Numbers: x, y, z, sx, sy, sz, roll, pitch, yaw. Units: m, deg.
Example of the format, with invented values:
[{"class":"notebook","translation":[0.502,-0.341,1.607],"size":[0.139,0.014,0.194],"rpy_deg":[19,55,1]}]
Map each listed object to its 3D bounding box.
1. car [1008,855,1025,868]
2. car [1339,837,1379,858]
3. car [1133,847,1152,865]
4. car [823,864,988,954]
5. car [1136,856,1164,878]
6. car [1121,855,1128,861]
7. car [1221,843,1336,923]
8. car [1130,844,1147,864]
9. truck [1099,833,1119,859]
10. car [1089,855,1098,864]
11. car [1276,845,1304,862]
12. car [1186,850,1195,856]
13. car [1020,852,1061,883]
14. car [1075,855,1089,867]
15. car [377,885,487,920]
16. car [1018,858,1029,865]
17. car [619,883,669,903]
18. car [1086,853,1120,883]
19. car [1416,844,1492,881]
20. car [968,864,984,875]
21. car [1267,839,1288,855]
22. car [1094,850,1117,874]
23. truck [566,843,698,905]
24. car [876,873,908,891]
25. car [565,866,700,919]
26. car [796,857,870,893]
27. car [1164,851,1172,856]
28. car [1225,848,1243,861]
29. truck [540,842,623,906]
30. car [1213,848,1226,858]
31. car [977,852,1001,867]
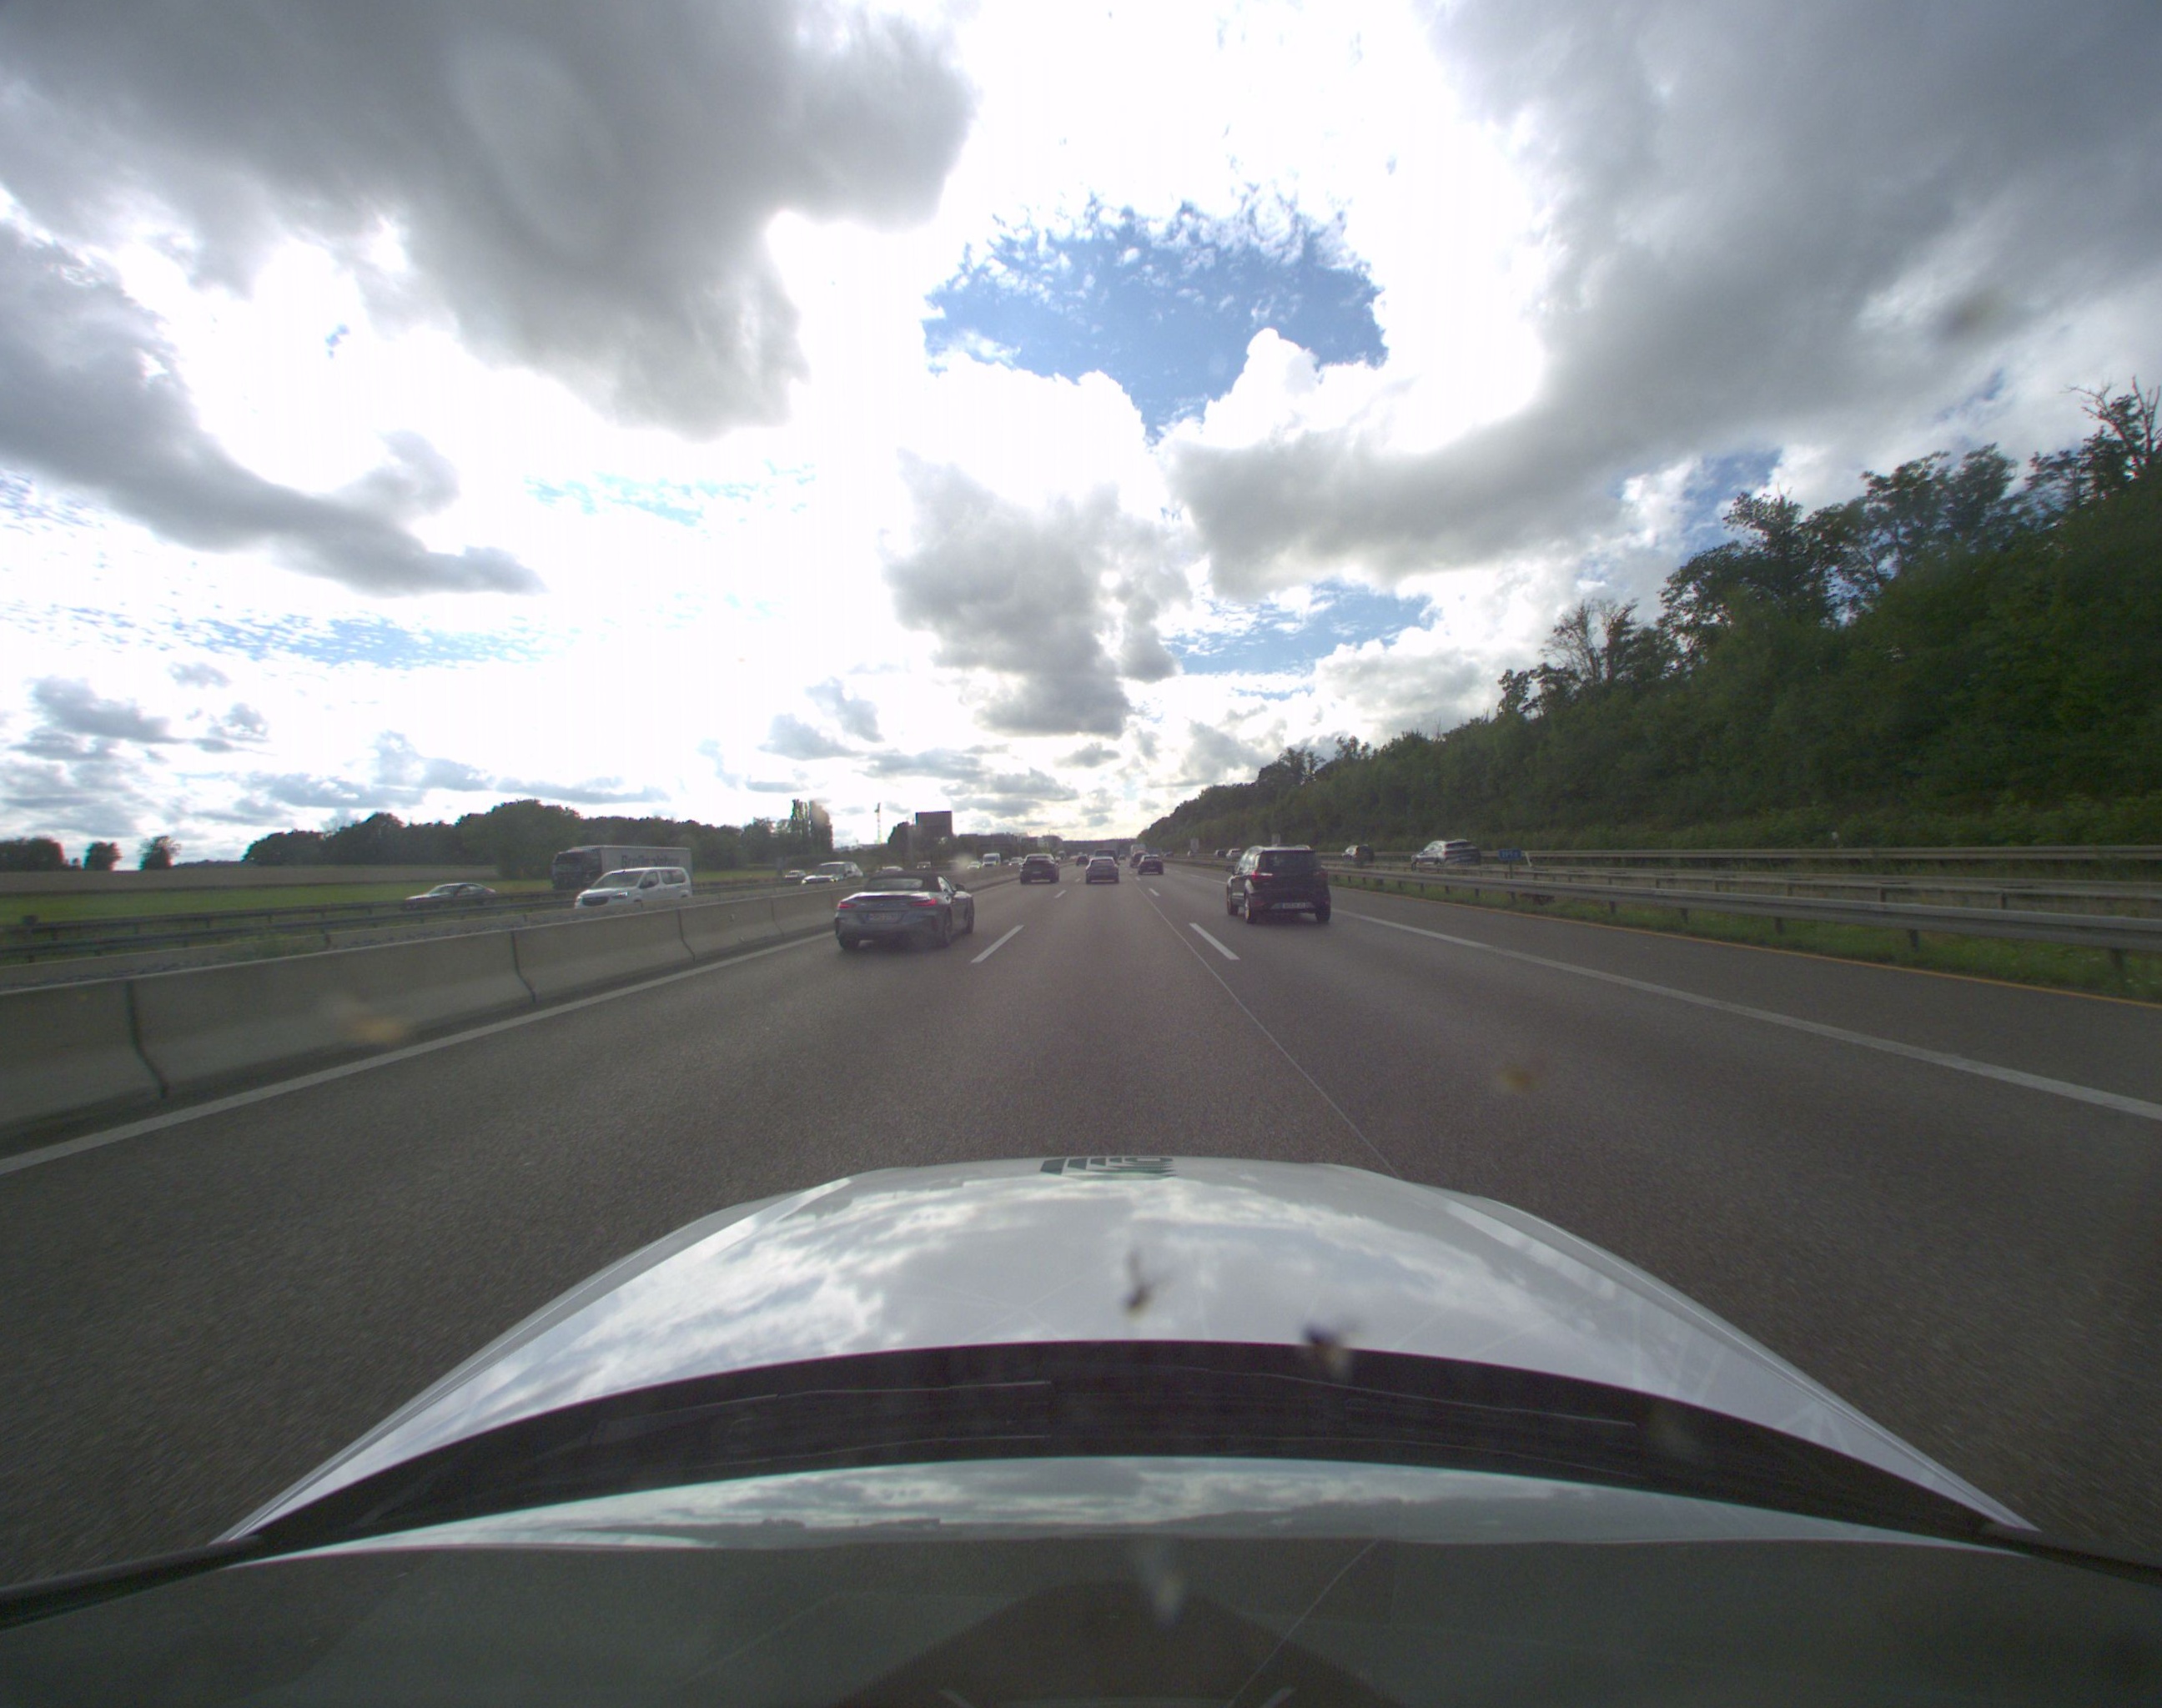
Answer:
[{"class":"car","translation":[-8.782,0.990,111.561],"size":[1.757,1.731,4.705],"rpy_deg":[-1,0,2]},{"class":"car","translation":[22.750,-0.510,66.797],"size":[1.723,1.546,4.306],"rpy_deg":[-4,0,0]},{"class":"car","translation":[6.865,0.224,91.709],"size":[1.906,1.919,4.032],"rpy_deg":[-2,0,2]},{"class":"car","translation":[-3.083,0.909,15.423],"size":[1.866,1.302,4.944],"rpy_deg":[-2,0,2]},{"class":"car","translation":[5.153,0.936,60.846],"size":[1.825,1.521,4.227],"rpy_deg":[-2,0,2]},{"class":"car","translation":[11.274,1.012,212.689],"size":[1.745,1.695,4.192],"rpy_deg":[-2,0,2]},{"class":"car","translation":[4.369,0.592,18.615],"size":[1.691,1.564,4.115],"rpy_deg":[-2,0,1]},{"class":"car","translation":[6.947,0.030,98.782],"size":[1.866,2.357,4.284],"rpy_deg":[-2,0,2]},{"class":"truck","translation":[4.941,-1.344,141.363],"size":[3.250,4.375,11.031],"rpy_deg":[-1,0,2]},{"class":"car","translation":[2.498,1.091,164.929],"size":[1.691,1.611,4.115],"rpy_deg":[-2,0,1]},{"class":"car","translation":[19.707,-0.065,76.885],"size":[1.590,1.546,4.190],"rpy_deg":[-2,0,0]},{"class":"car","translation":[27.440,-0.309,203.548],"size":[1.746,1.517,4.191],"rpy_deg":[-2,0,1]},{"class":"car","translation":[-2.282,0.737,47.439],"size":[1.905,1.636,5.502],"rpy_deg":[-2,0,2]},{"class":"car","translation":[0.180,0.984,119.459],"size":[1.866,1.698,4.074],"rpy_deg":[-2,0,2]},{"class":"car","translation":[-32.068,2.364,40.417],"size":[1.708,1.409,4.522],"rpy_deg":[-2,0,1]},{"class":"car","translation":[-10.871,1.399,155.037],"size":[1.631,1.403,4.492],"rpy_deg":[-2,0,1]},{"class":"car","translation":[-34.803,3.078,64.944],"size":[1.602,1.313,4.114],"rpy_deg":[-2,0,2]},{"class":"car","translation":[1.233,0.724,44.508],"size":[1.714,1.479,4.393],"rpy_deg":[-2,0,2]},{"class":"car","translation":[18.524,0.402,40.630],"size":[1.839,1.650,4.308],"rpy_deg":[-4,0,2]},{"class":"car","translation":[-16.112,2.417,125.316],"size":[1.720,1.529,4.866],"rpy_deg":[-2,0,1]},{"class":"car","translation":[23.459,-0.782,97.177],"size":[1.590,1.804,3.825],"rpy_deg":[-2,0,0]},{"class":"car","translation":[1.900,0.616,63.462],"size":[1.714,1.724,4.393],"rpy_deg":[-2,0,2]},{"class":"truck","translation":[-38.452,1.582,70.742],"size":[3.062,4.802,14.134],"rpy_deg":[-2,0,2]},{"class":"car","translation":[-17.616,2.599,76.080],"size":[1.757,1.532,4.718],"rpy_deg":[-2,0,1]},{"class":"car","translation":[-15.181,1.229,27.938],"size":[1.757,1.532,4.943],"rpy_deg":[-2,0,1]},{"class":"car","translation":[-11.496,0.933,38.136],"size":[1.757,1.532,4.944],"rpy_deg":[-2,0,2]},{"class":"car","translation":[25.052,-0.185,234.151],"size":[1.722,1.533,4.454],"rpy_deg":[-2,0,2]},{"class":"car","translation":[21.073,0.125,112.082],"size":[1.745,1.695,4.192],"rpy_deg":[-2,0,2]},{"class":"truck","translation":[-38.776,1.494,63.415],"size":[3.034,4.659,5.075],"rpy_deg":[-2,0,3]},{"class":"car","translation":[25.268,-0.125,148.217],"size":[1.745,1.695,4.192],"rpy_deg":[-2,0,2]},{"class":"car","translation":[-12.828,0.795,113.888],"size":[2.346,1.967,5.837],"rpy_deg":[-2,0,2]}]
